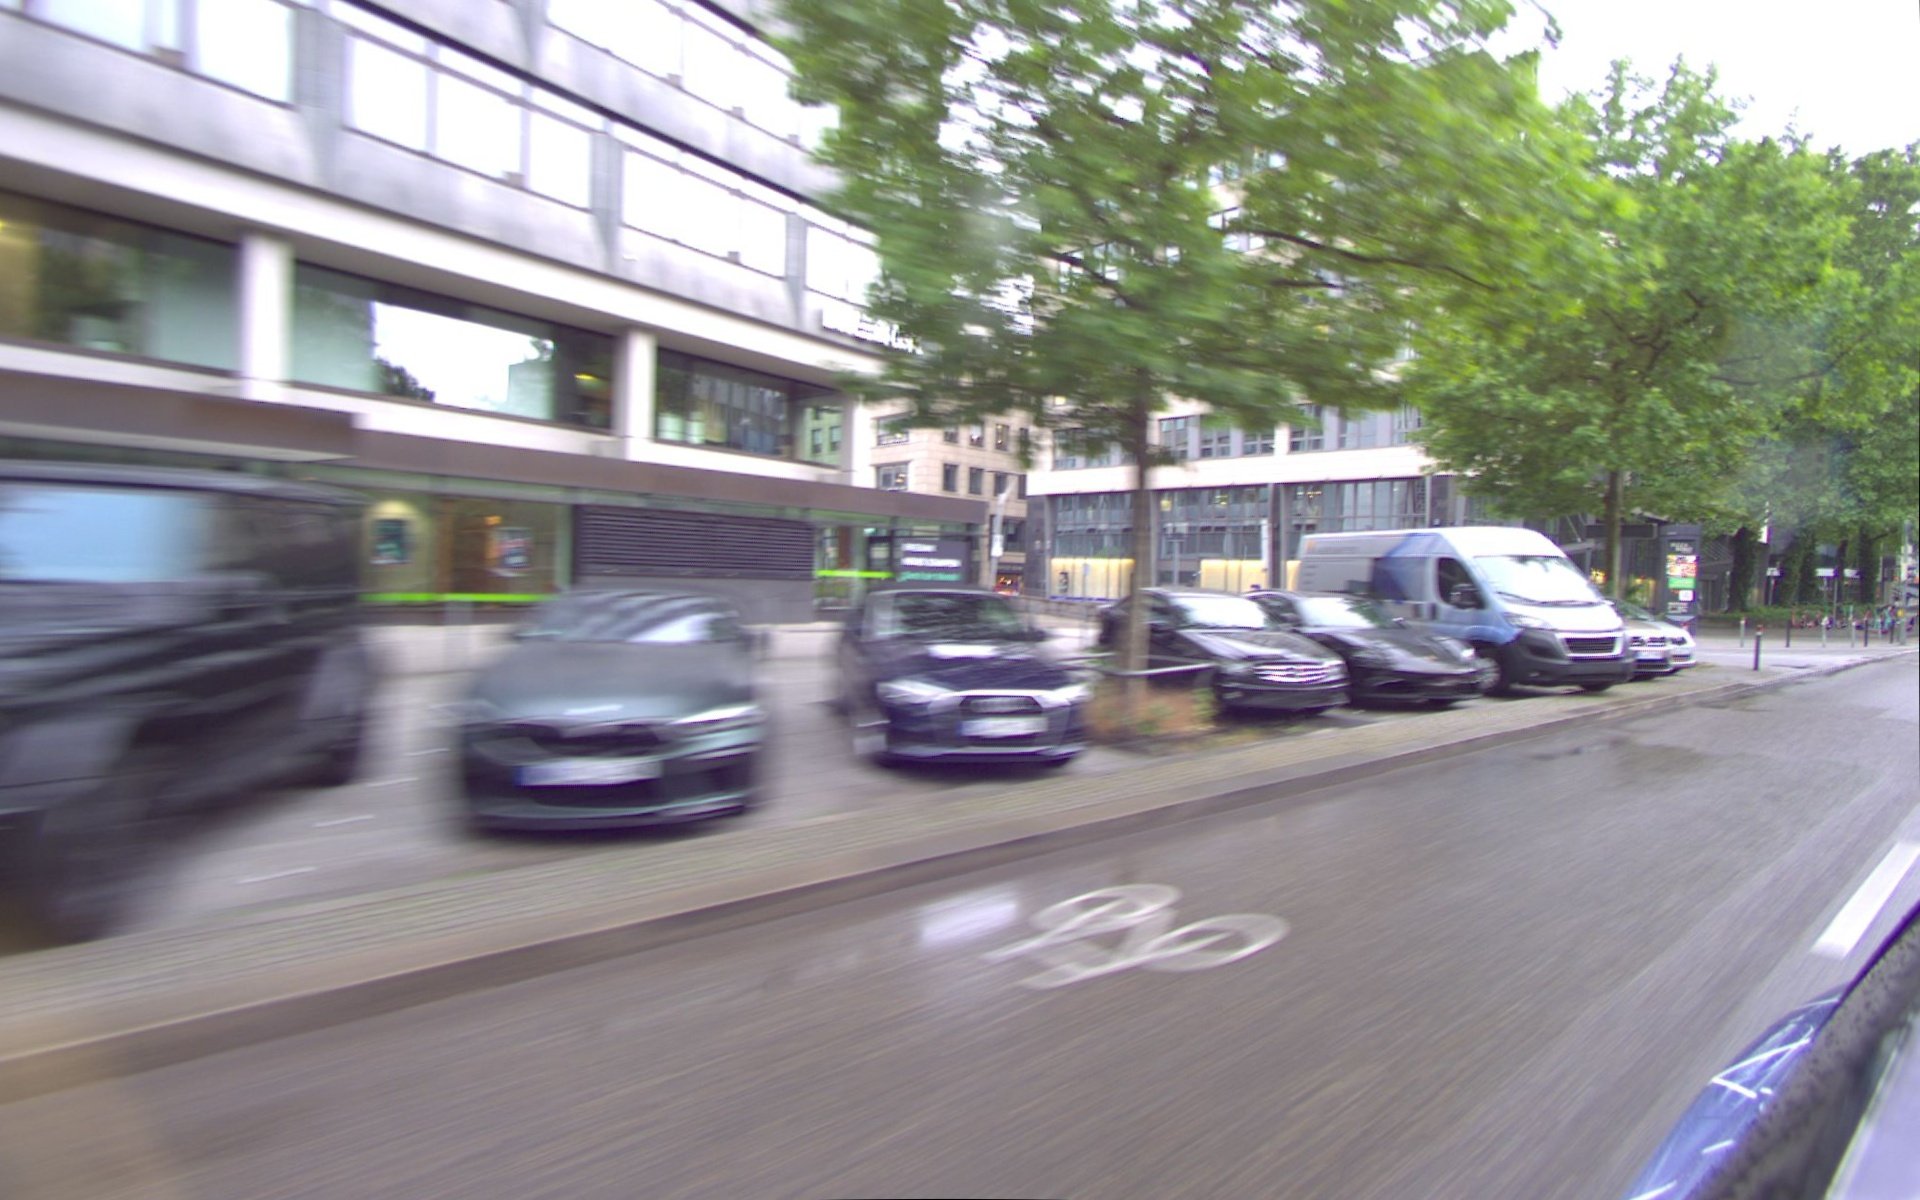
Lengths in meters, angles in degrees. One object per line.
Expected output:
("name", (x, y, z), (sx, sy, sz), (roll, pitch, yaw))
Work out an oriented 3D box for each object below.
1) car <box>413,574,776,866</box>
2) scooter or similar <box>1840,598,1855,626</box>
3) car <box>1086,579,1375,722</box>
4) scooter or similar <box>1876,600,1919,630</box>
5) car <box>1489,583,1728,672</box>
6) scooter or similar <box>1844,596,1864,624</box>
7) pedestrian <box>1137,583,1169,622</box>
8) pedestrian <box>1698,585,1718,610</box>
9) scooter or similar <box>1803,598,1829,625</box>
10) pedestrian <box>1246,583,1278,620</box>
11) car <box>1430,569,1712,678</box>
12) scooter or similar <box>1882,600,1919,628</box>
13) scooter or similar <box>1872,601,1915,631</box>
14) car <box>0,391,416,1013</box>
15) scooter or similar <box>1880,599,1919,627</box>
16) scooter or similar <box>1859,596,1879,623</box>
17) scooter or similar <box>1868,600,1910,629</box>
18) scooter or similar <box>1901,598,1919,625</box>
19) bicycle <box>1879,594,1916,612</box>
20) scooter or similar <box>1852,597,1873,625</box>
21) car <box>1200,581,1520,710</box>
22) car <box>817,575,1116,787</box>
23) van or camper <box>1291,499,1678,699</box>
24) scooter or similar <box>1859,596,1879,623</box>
("car", (-2.347, 0.557, 7.588), (1.809, 1.411, 4.648), (0, 2, -11))
("scooter or similar", (40.713, 0.530, 46.411), (0.487, 1.212, 1.275), (1, 2, 41))
("car", (3.133, 0.480, 12.737), (1.684, 1.454, 4.222), (0, 1, -14))
("scooter or similar", (42.772, 0.687, 46.172), (0.479, 1.275, 1.296), (2, 1, -27))
("car", (12.540, 0.462, 19.821), (1.679, 1.566, 3.668), (0, 1, -20))
("scooter or similar", (42.535, 0.475, 48.159), (1.270, 1.275, 0.489), (2, 1, -40))
("pedestrian", (8.663, 0.109, 45.471), (0.792, 1.718, 1.187), (0, 0, -34))
("pedestrian", (53.266, -0.162, 72.108), (0.813, 1.714, 0.729), (2, 1, 3))
("scooter or similar", (40.148, 0.515, 47.470), (0.483, 1.212, 1.285), (0, 1, 19))
("pedestrian", (15.268, 0.066, 51.213), (0.905, 1.873, 1.274), (-1, 1, -43))
("car", (10.597, 0.334, 17.972), (1.780, 1.688, 4.279), (0, 1, -14))
("scooter or similar", (45.687, 0.684, 49.090), (0.480, 1.251, 1.293), (2, 1, -37))
("scooter or similar", (42.264, 0.699, 45.846), (0.479, 1.275, 1.296), (2, 1, -27))
("car", (-4.539, 0.230, 5.199), (1.889, 2.003, 4.965), (1, 2, -14))
("scooter or similar", (45.131, 0.619, 48.617), (0.480, 1.251, 1.293), (2, 1, -37))
("scooter or similar", (43.699, 0.453, 48.639), (1.270, 1.275, 0.489), (2, 1, -40))
("scooter or similar", (42.939, 0.672, 46.802), (0.479, 1.275, 1.296), (2, 1, -27))
("scooter or similar", (48.007, 0.602, 50.582), (0.527, 1.294, 1.294), (2, 1, -35))
("bicycle", (53.886, 0.172, 58.190), (1.727, 1.040, 0.640), (0, 1, -11))
("scooter or similar", (41.610, 0.515, 46.635), (1.270, 1.275, 0.489), (2, 1, -40))
("car", (5.219, 0.484, 13.972), (1.900, 1.454, 4.412), (0, 1, -14))
("car", (-0.228, 0.502, 9.283), (1.725, 1.454, 4.389), (0, 1, -14))
("van or camper", (7.923, -0.088, 16.313), (2.061, 2.590, 6.098), (0, 1, -13))
("scooter or similar", (43.699, 0.453, 48.639), (1.270, 1.275, 0.489), (2, 1, -40))
